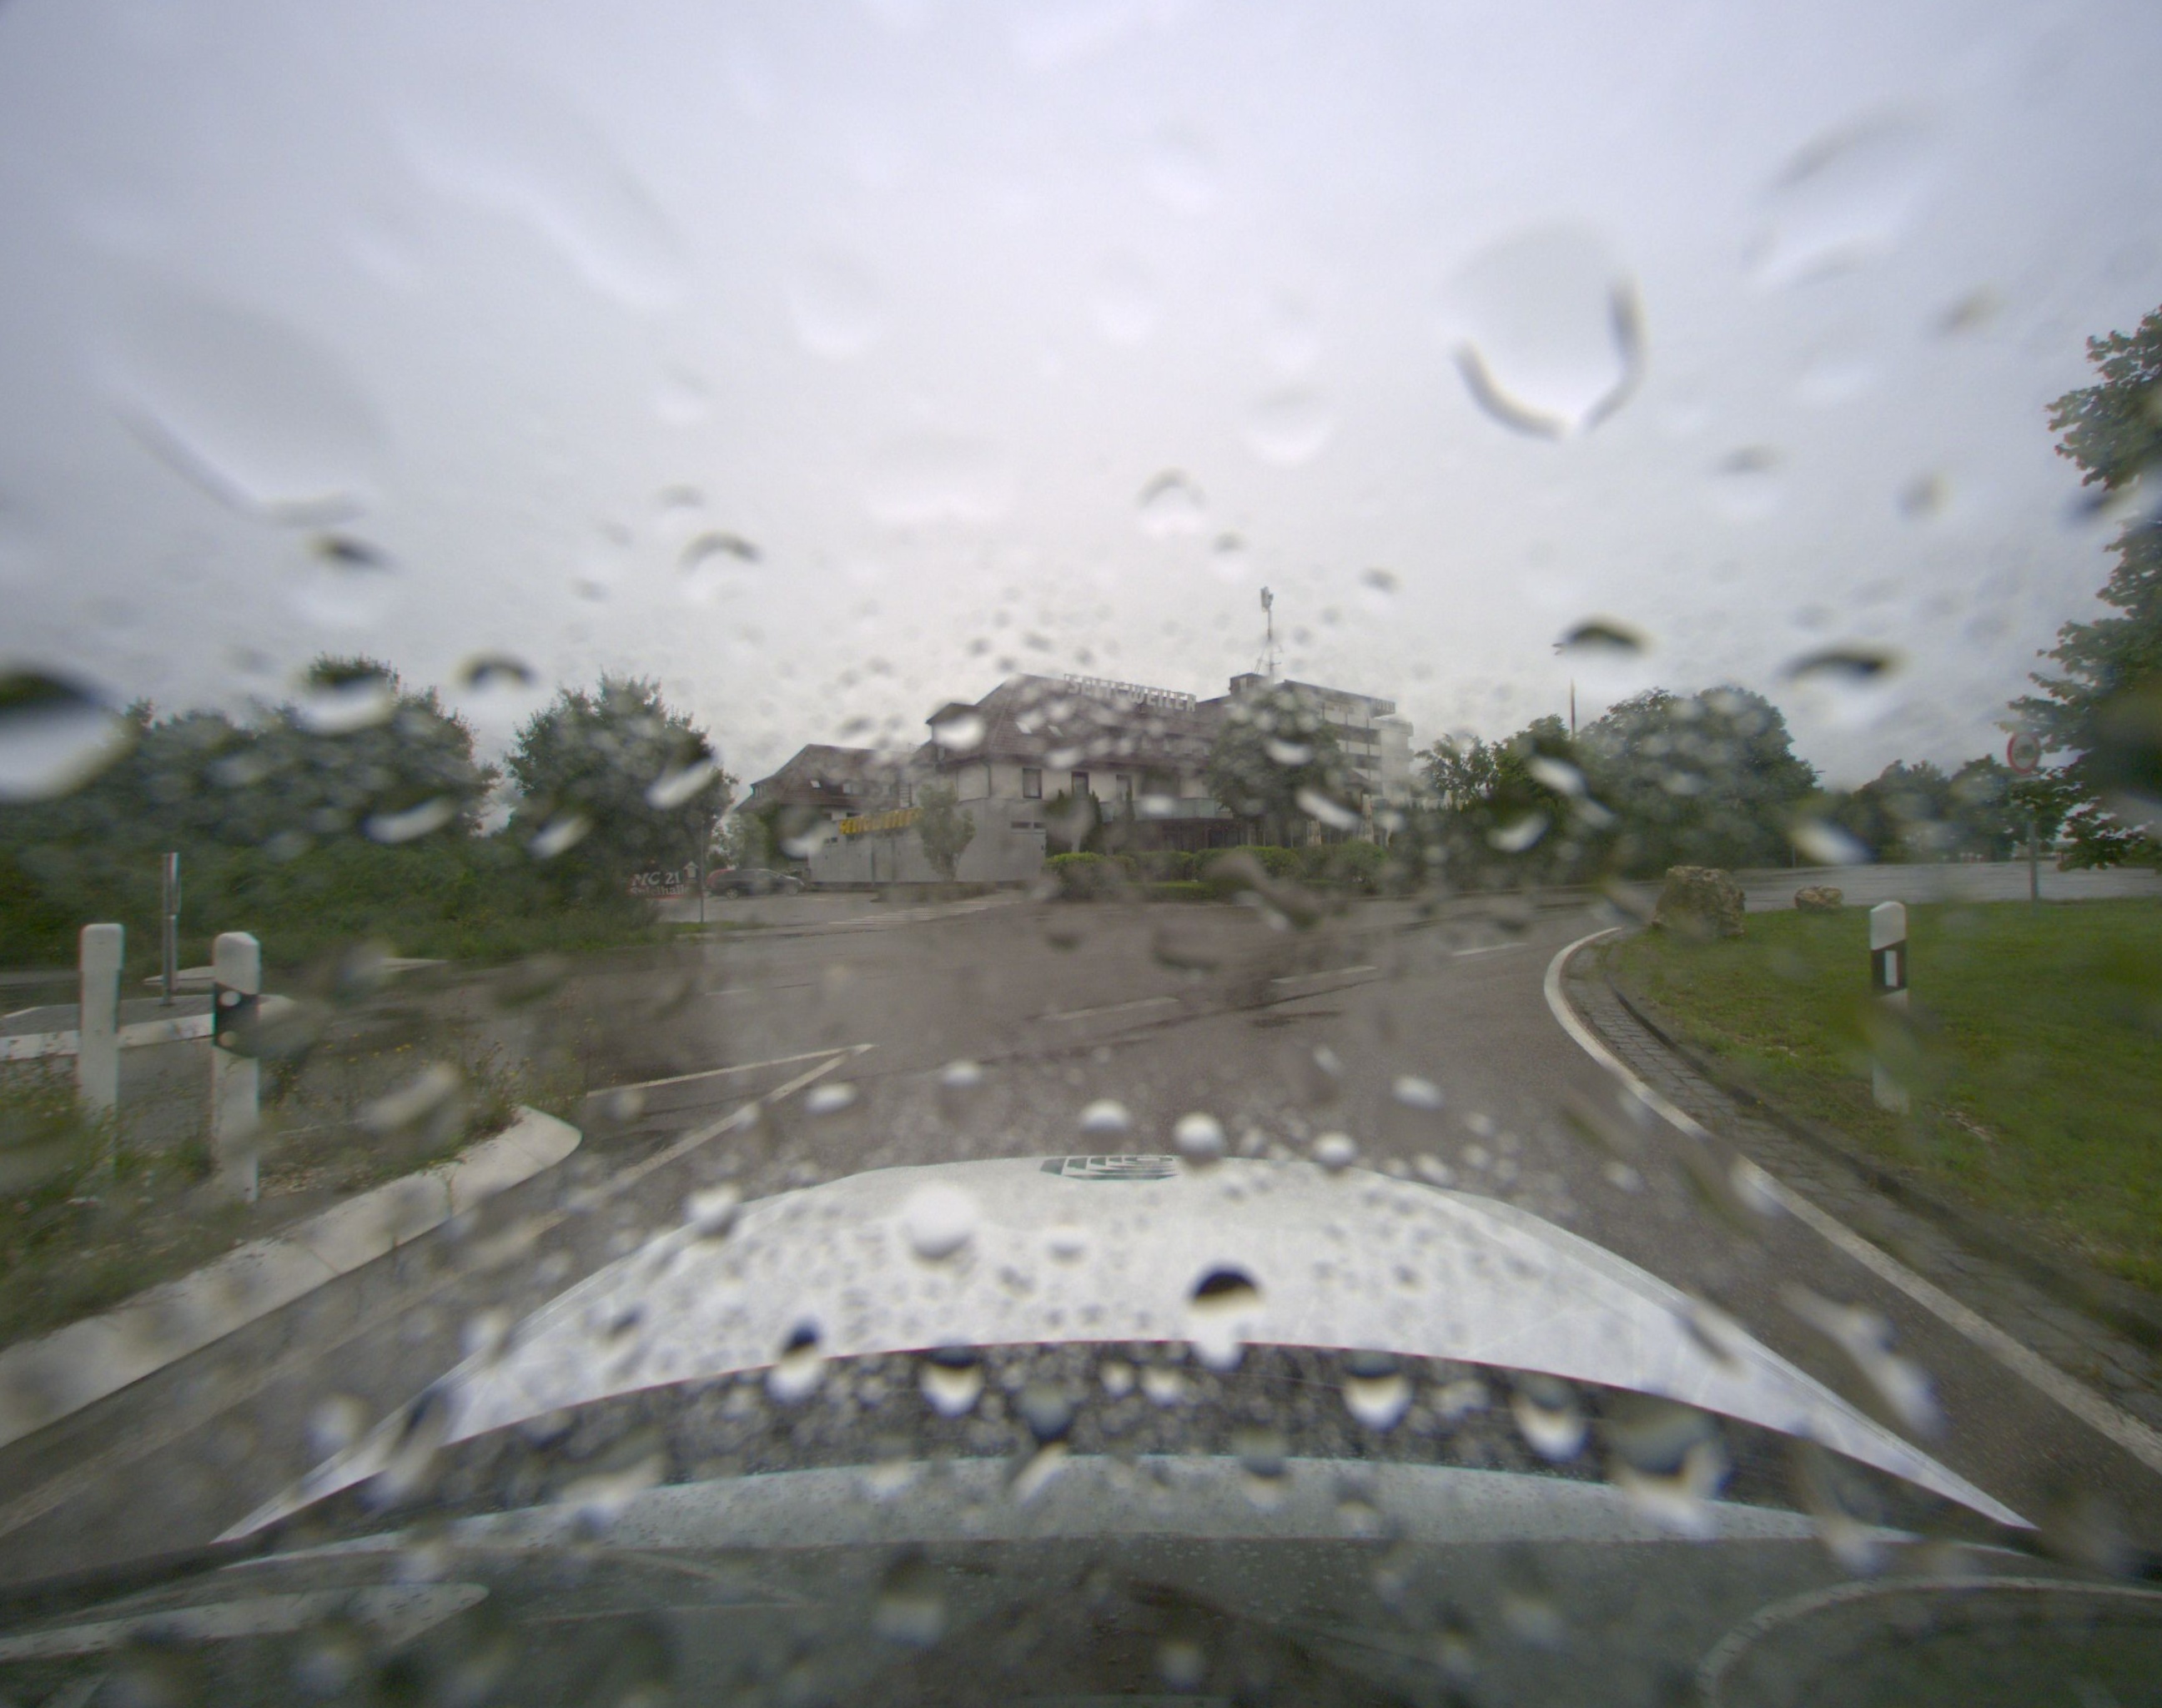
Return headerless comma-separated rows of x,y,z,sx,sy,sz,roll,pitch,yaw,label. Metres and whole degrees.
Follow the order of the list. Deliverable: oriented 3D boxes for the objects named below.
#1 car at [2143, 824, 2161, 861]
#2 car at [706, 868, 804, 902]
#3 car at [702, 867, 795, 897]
51.357,-0.598,36.872,1.704,1.716,4.037,0,-2,10,car
-16.049,1.486,40.257,4.364,1.425,1.694,-2,0,-22,car
-18.277,1.542,44.913,4.383,1.425,1.828,-2,-1,-40,car
